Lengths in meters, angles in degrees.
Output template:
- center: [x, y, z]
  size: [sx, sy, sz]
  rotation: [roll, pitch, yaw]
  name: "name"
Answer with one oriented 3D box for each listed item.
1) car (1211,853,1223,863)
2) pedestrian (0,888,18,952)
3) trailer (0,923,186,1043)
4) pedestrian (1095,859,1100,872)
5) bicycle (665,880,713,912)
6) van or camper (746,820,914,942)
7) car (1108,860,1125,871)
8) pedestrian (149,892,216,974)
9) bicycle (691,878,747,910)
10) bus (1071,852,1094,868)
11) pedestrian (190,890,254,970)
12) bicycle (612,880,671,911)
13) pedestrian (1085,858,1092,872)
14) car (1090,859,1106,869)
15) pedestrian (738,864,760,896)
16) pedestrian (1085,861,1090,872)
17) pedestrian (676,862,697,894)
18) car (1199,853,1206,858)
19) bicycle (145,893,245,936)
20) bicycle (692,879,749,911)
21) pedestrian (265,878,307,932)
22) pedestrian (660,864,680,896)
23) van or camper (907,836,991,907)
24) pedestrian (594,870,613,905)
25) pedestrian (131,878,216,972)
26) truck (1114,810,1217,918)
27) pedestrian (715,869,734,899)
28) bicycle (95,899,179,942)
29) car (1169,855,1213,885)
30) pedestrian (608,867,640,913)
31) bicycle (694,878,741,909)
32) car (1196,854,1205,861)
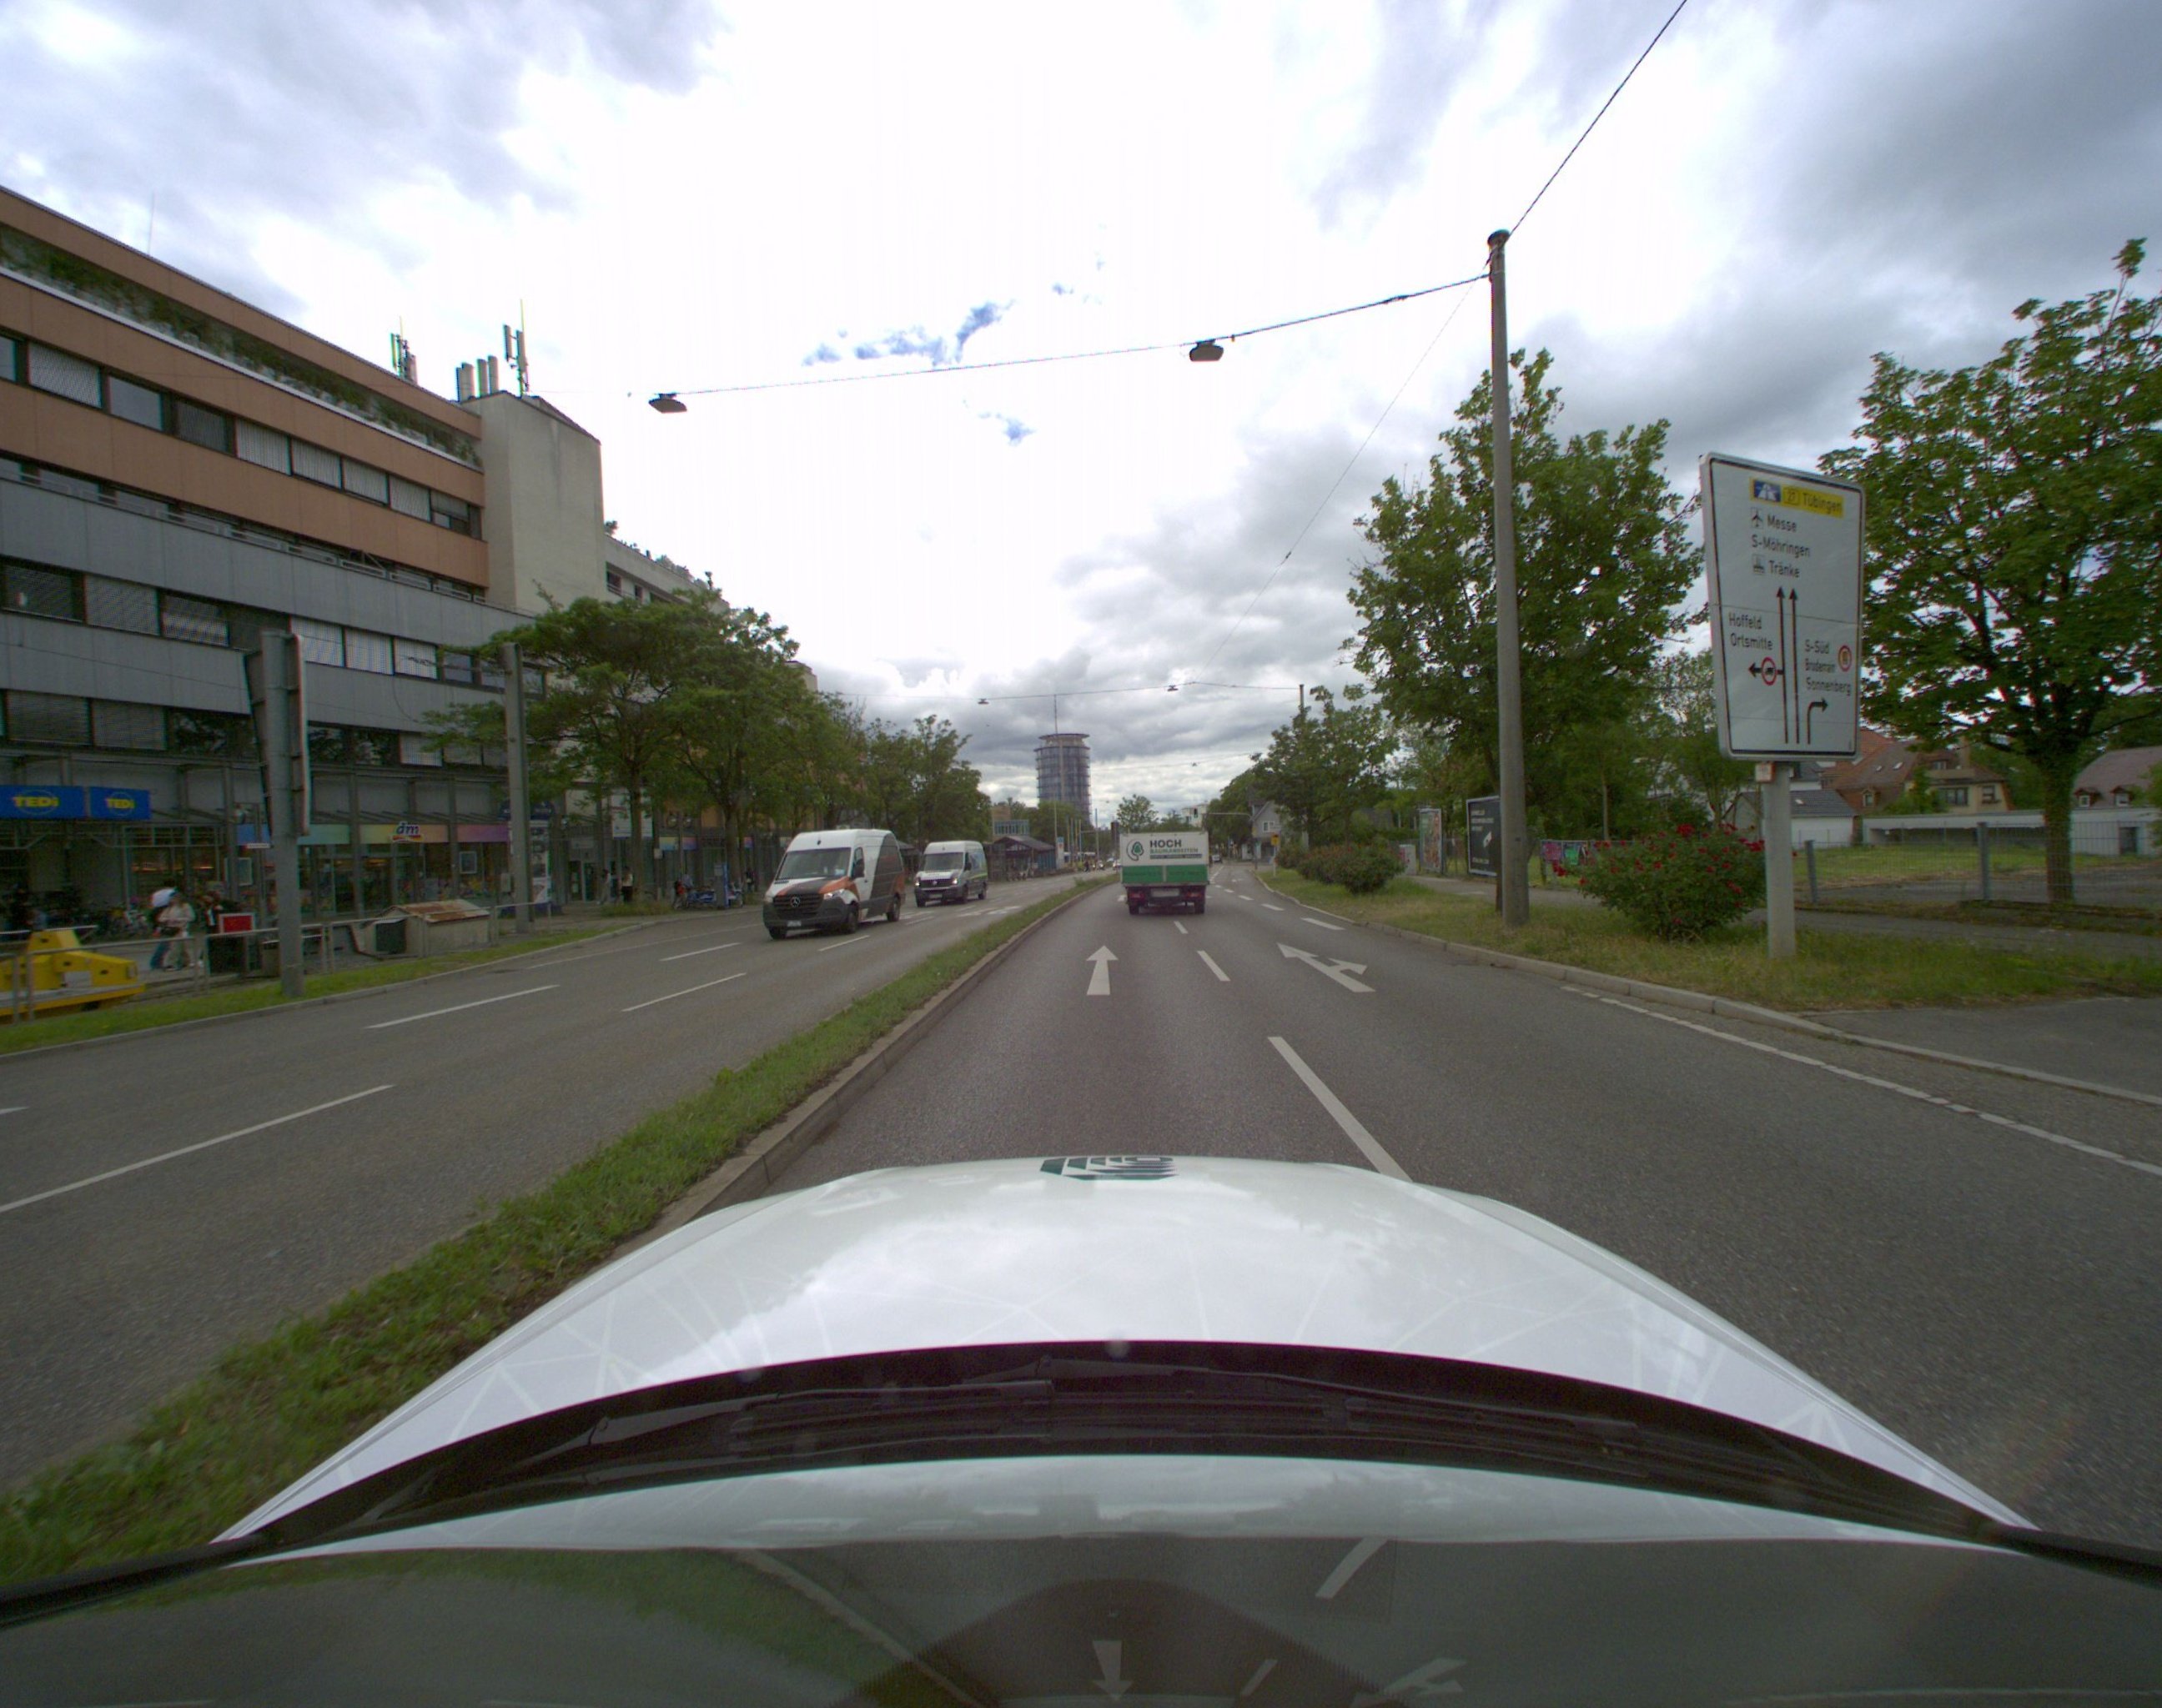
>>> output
- center: [22.537, 0.637, 134.830]
  size: [1.981, 1.552, 4.011]
  rotation: [-3, -1, 9]
  name: "car"
- center: [-29.271, 1.774, 21.841]
  size: [0.701, 1.698, 0.635]
  rotation: [0, 0, 2]
  name: "pedestrian"
- center: [-15.040, 1.797, 6.409]
  size: [2.833, 1.333, 12.118]
  rotation: [-3, 0, -2]
  name: "trailer"
- center: [2.382, 1.643, 116.165]
  size: [0.650, 1.716, 0.452]
  rotation: [-3, -1, 3]
  name: "pedestrian"
- center: [-15.895, 1.681, 33.071]
  size: [0.598, 1.161, 1.973]
  rotation: [-3, 0, 14]
  name: "bicycle"
- center: [-6.255, 0.601, 21.277]
  size: [1.985, 2.598, 6.121]
  rotation: [-4, 0, 3]
  name: "van or camper"
- center: [5.542, 1.765, 126.879]
  size: [1.982, 1.486, 4.010]
  rotation: [-3, -1, 9]
  name: "car"
- center: [-18.348, 1.597, 16.644]
  size: [0.597, 1.573, 0.620]
  rotation: [-3, 0, 0]
  name: "pedestrian"
- center: [-14.750, 1.619, 33.237]
  size: [0.597, 1.161, 1.977]
  rotation: [-3, 0, 42]
  name: "bicycle"
- center: [0.407, 1.390, 192.534]
  size: [2.811, 3.431, 10.775]
  rotation: [-3, -1, 15]
  name: "bus"
- center: [-17.730, 1.550, 16.818]
  size: [0.597, 1.573, 0.620]
  rotation: [-3, 0, 0]
  name: "pedestrian"
- center: [-18.428, 1.740, 34.185]
  size: [2.030, 1.161, 0.666]
  rotation: [-3, 0, -41]
  name: "bicycle"
- center: [1.039, 1.551, 116.897]
  size: [0.826, 2.014, 0.546]
  rotation: [-3, -1, 3]
  name: "pedestrian"
- center: [2.660, 1.596, 127.764]
  size: [1.982, 1.486, 4.010]
  rotation: [-3, -1, 9]
  name: "car"
- center: [-18.035, 1.423, 44.243]
  size: [0.766, 1.716, 0.791]
  rotation: [-1, -1, 27]
  name: "pedestrian"
- center: [0.915, 1.782, 117.868]
  size: [0.540, 1.496, 0.488]
  rotation: [-3, -1, 9]
  name: "pedestrian"
- center: [-19.724, 1.173, 40.726]
  size: [0.663, 1.583, 0.708]
  rotation: [0, -1, 4]
  name: "pedestrian"
- center: [37.508, 0.393, 250.685]
  size: [1.983, 1.552, 4.008]
  rotation: [-3, -1, 7]
  name: "car"
- center: [-27.902, 1.898, 25.711]
  size: [0.667, 1.161, 2.026]
  rotation: [-3, 0, 14]
  name: "bicycle"
- center: [-14.345, 1.598, 32.462]
  size: [0.597, 1.161, 1.977]
  rotation: [0, 1, 42]
  name: "bicycle"
- center: [-26.438, 1.686, 27.084]
  size: [0.647, 1.700, 0.669]
  rotation: [-3, 0, 2]
  name: "pedestrian"
- center: [-20.593, 1.301, 40.829]
  size: [0.629, 1.600, 0.624]
  rotation: [-1, 0, 7]
  name: "pedestrian"
- center: [-5.378, 0.665, 34.136]
  size: [2.024, 2.598, 6.121]
  rotation: [-4, 0, 3]
  name: "van or camper"
- center: [-22.535, 1.570, 38.443]
  size: [0.626, 1.600, 0.626]
  rotation: [-1, -1, 41]
  name: "pedestrian"
- center: [-19.242, 1.486, 17.287]
  size: [0.741, 1.877, 0.874]
  rotation: [-3, 0, 2]
  name: "pedestrian"
- center: [2.519, 0.217, 23.390]
  size: [2.457, 2.611, 6.562]
  rotation: [-1, 1, 7]
  name: "truck"
- center: [-21.053, 1.769, 48.154]
  size: [0.767, 1.716, 0.790]
  rotation: [0, -1, 1]
  name: "pedestrian"
- center: [-27.996, 1.967, 24.159]
  size: [1.999, 1.161, 0.676]
  rotation: [-3, 0, 10]
  name: "bicycle"
- center: [6.238, 0.853, 46.690]
  size: [1.861, 1.505, 4.774]
  rotation: [-2, 1, 1]
  name: "car"
- center: [-17.364, 1.356, 30.960]
  size: [0.771, 1.713, 0.708]
  rotation: [0, -1, 4]
  name: "pedestrian"
- center: [-15.370, 1.661, 34.448]
  size: [0.597, 1.161, 1.700]
  rotation: [-3, 0, 41]
  name: "bicycle"
- center: [28.295, 0.793, 192.872]
  size: [1.983, 1.552, 4.008]
  rotation: [-3, -1, 7]
  name: "car"
